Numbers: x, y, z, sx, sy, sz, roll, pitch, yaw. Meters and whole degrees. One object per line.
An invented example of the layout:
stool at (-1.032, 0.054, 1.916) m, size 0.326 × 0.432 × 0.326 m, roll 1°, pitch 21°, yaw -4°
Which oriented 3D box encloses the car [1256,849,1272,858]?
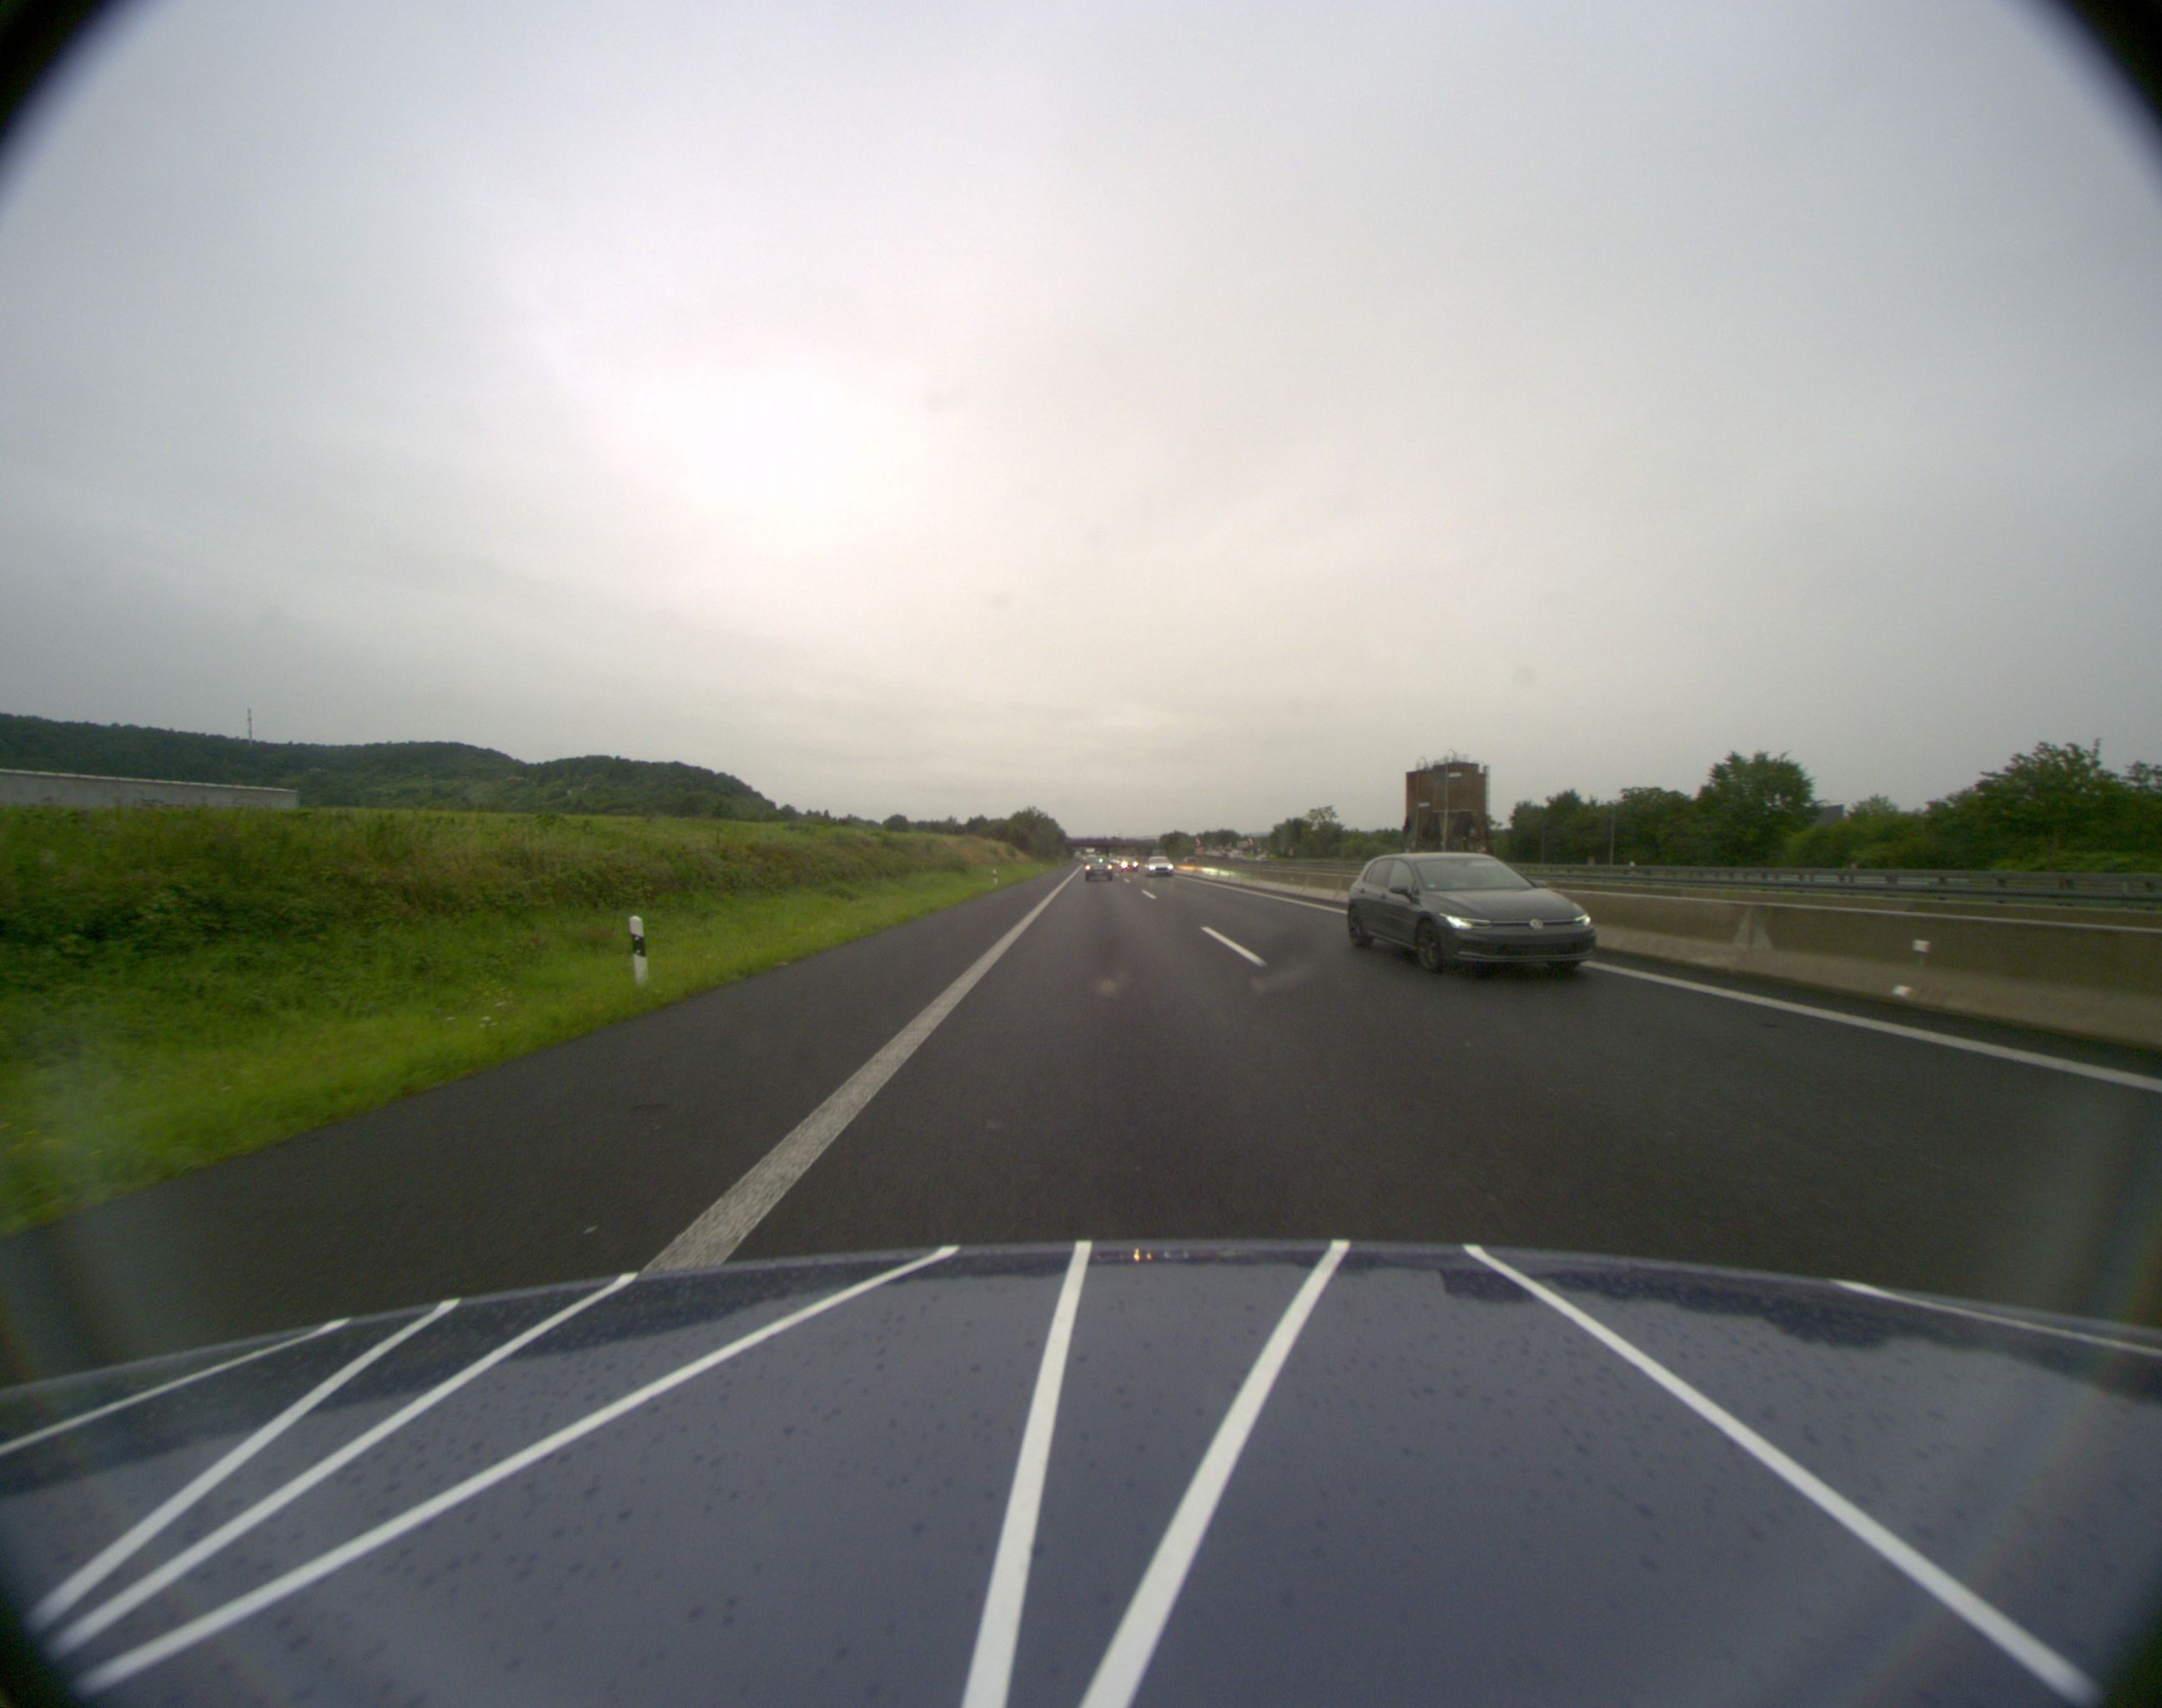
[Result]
car at (35.372, -0.085, 147.208) m, size 1.998 × 1.751 × 4.505 m, roll -1°, pitch 0°, yaw 1°

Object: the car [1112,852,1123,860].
car at (7.174, 0.428, 149.934) m, size 1.942 × 1.341 × 4.000 m, roll -3°, pitch 0°, yaw 1°

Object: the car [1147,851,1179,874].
car at (6.131, 0.619, 57.053) m, size 1.998 × 1.582 × 4.817 m, roll -2°, pitch 0°, yaw 2°

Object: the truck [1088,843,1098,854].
truck at (3.481, -1.535, 217.722) m, size 2.728 × 3.098 × 7.960 m, roll -3°, pitch 0°, yaw 1°

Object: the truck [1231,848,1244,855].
truck at (38.602, -0.673, 187.507) m, size 1.999 × 1.635 × 5.405 m, roll -3°, pitch 0°, yaw -1°

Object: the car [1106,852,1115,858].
car at (6.932, 0.229, 181.110) m, size 1.998 × 1.565 × 4.000 m, roll -1°, pitch 0°, yaw 1°

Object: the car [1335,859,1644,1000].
car at (5.098, 0.819, 10.296) m, size 1.835 × 1.417 × 4.367 m, roll -2°, pitch 0°, yaw 0°

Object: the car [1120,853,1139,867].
car at (5.040, 0.620, 78.893) m, size 1.835 × 1.417 × 4.368 m, roll -2°, pitch 0°, yaw 2°

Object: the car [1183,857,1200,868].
car at (14.409, 1.062, 99.261) m, size 1.860 × 1.383 × 4.445 m, roll -1°, pitch 0°, yaw 3°

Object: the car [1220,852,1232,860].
car at (33.979, 0.462, 177.640) m, size 1.908 × 1.797 × 4.461 m, roll -2°, pitch 0°, yaw 0°

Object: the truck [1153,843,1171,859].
truck at (20.142, -0.748, 189.610) m, size 2.976 × 3.689 × 11.908 m, roll -3°, pitch 0°, yaw 0°

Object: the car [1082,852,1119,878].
car at (1.334, 0.672, 50.509) m, size 2.242 × 1.565 × 4.817 m, roll -2°, pitch 0°, yaw 2°

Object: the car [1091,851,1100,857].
car at (3.156, 0.048, 168.459) m, size 1.942 × 1.341 × 4.000 m, roll -3°, pitch 0°, yaw 1°

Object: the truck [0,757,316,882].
truck at (-41.155, -1.238, 30.860) m, size 3.831 × 4.514 × 16.877 m, roll -1°, pitch 1°, yaw -3°

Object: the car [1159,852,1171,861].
car at (15.049, 0.426, 136.089) m, size 1.802 × 1.499 × 4.000 m, roll 0°, pitch 0°, yaw 1°

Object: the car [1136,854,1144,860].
car at (16.472, 0.844, 212.519) m, size 1.785 × 1.622 × 3.999 m, roll 0°, pitch 0°, yaw -1°

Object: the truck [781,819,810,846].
truck at (-45.179, -3.369, 120.342) m, size 2.515 × 3.963 × 5.925 m, roll -2°, pitch 1°, yaw -4°

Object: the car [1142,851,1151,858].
car at (15.250, 0.141, 177.657) m, size 1.717 × 1.586 × 4.000 m, roll -2°, pitch 0°, yaw 0°

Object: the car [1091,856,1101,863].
car at (3.144, 1.189, 162.167) m, size 1.942 × 1.341 × 4.000 m, roll -3°, pitch 0°, yaw 1°
